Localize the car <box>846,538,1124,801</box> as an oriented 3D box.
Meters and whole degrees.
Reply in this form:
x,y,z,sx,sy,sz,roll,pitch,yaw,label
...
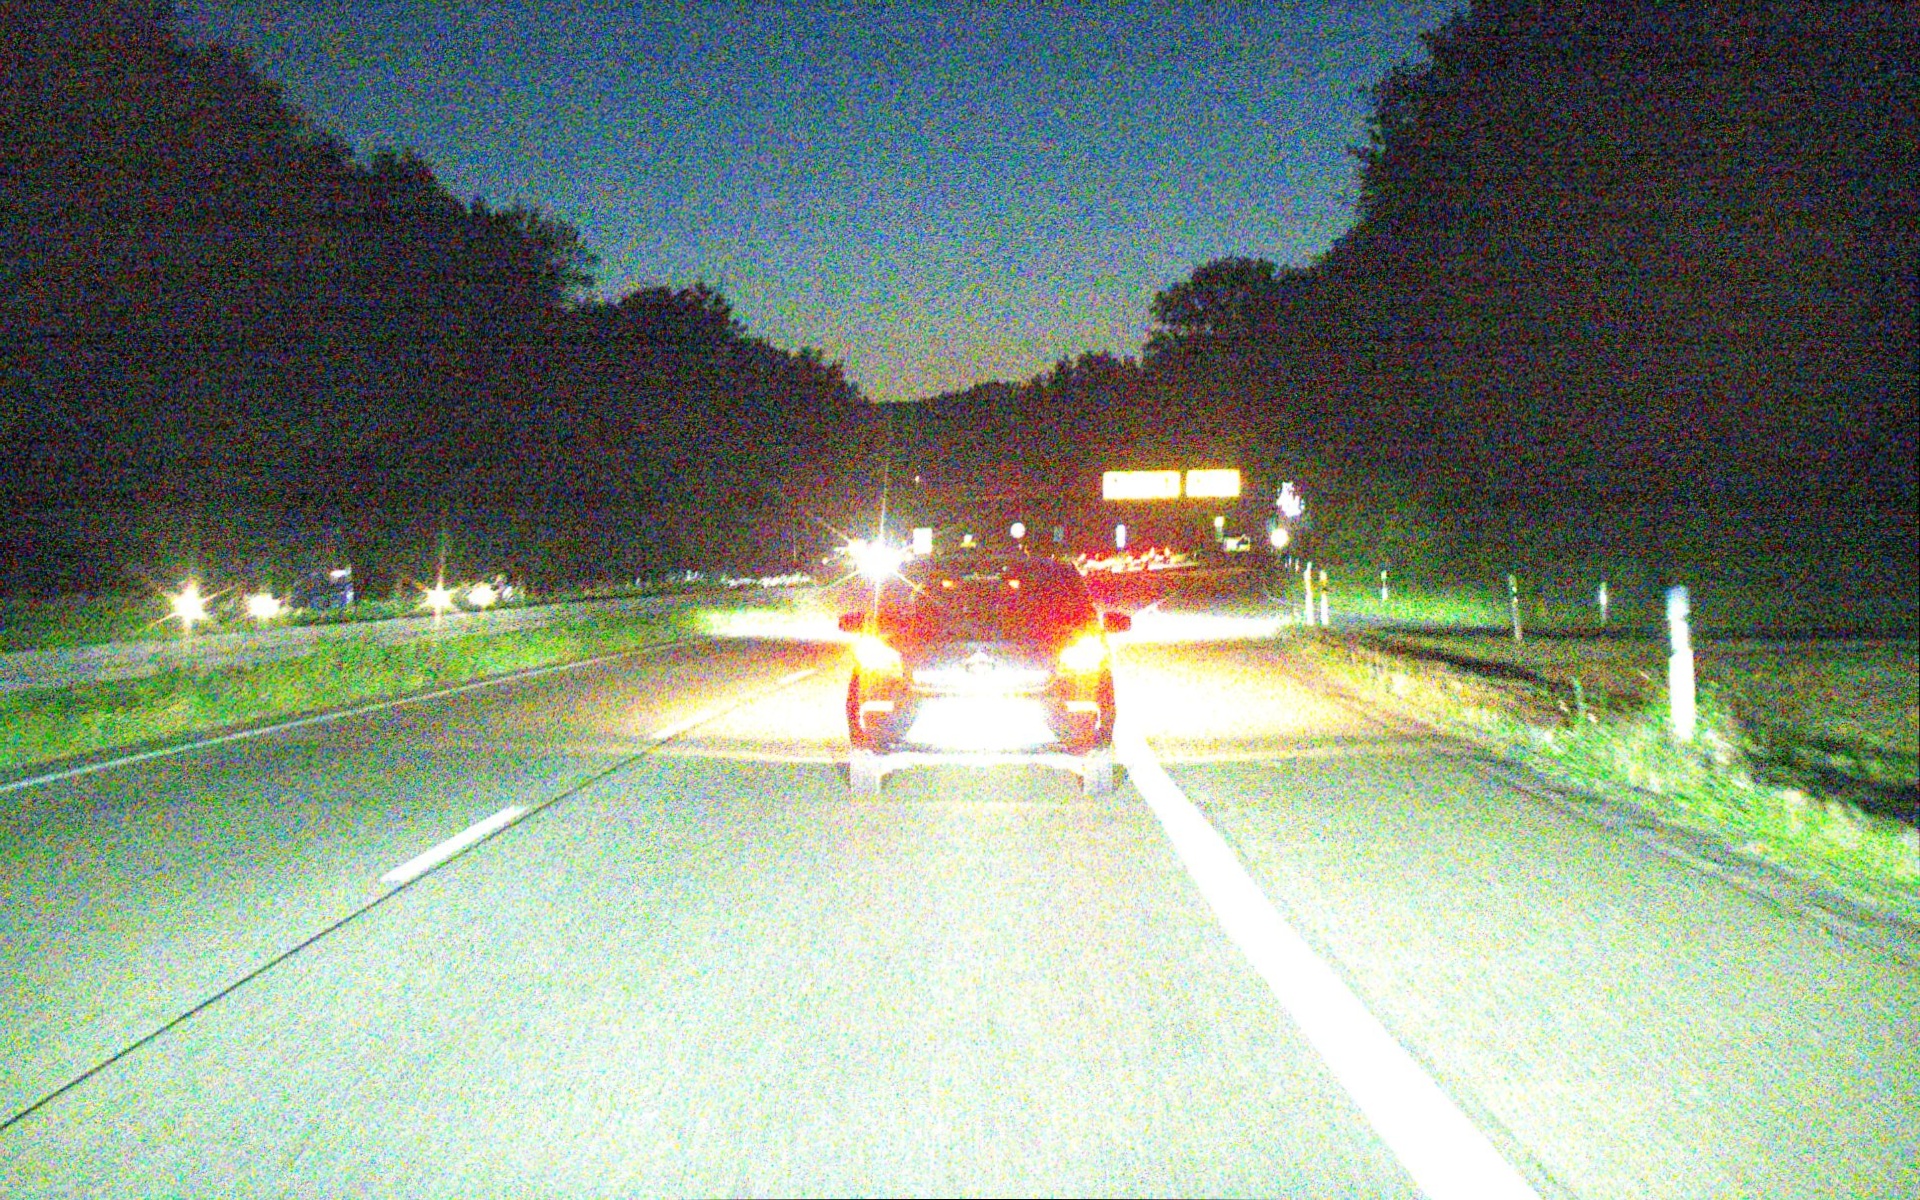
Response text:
x,y,z,sx,sy,sz,roll,pitch,yaw,label
0.122,0.373,22.060,1.588,1.503,4.000,1,1,-1,car

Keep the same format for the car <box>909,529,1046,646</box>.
x,y,z,sx,sy,sz,roll,pitch,yaw,label
0.306,-0.221,52.299,1.906,1.692,4.000,0,1,3,car

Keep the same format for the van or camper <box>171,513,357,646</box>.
x,y,z,sx,sy,sz,roll,pitch,yaw,label
-14.554,-0.474,72.418,2.294,2.608,7.666,-1,1,0,van or camper
